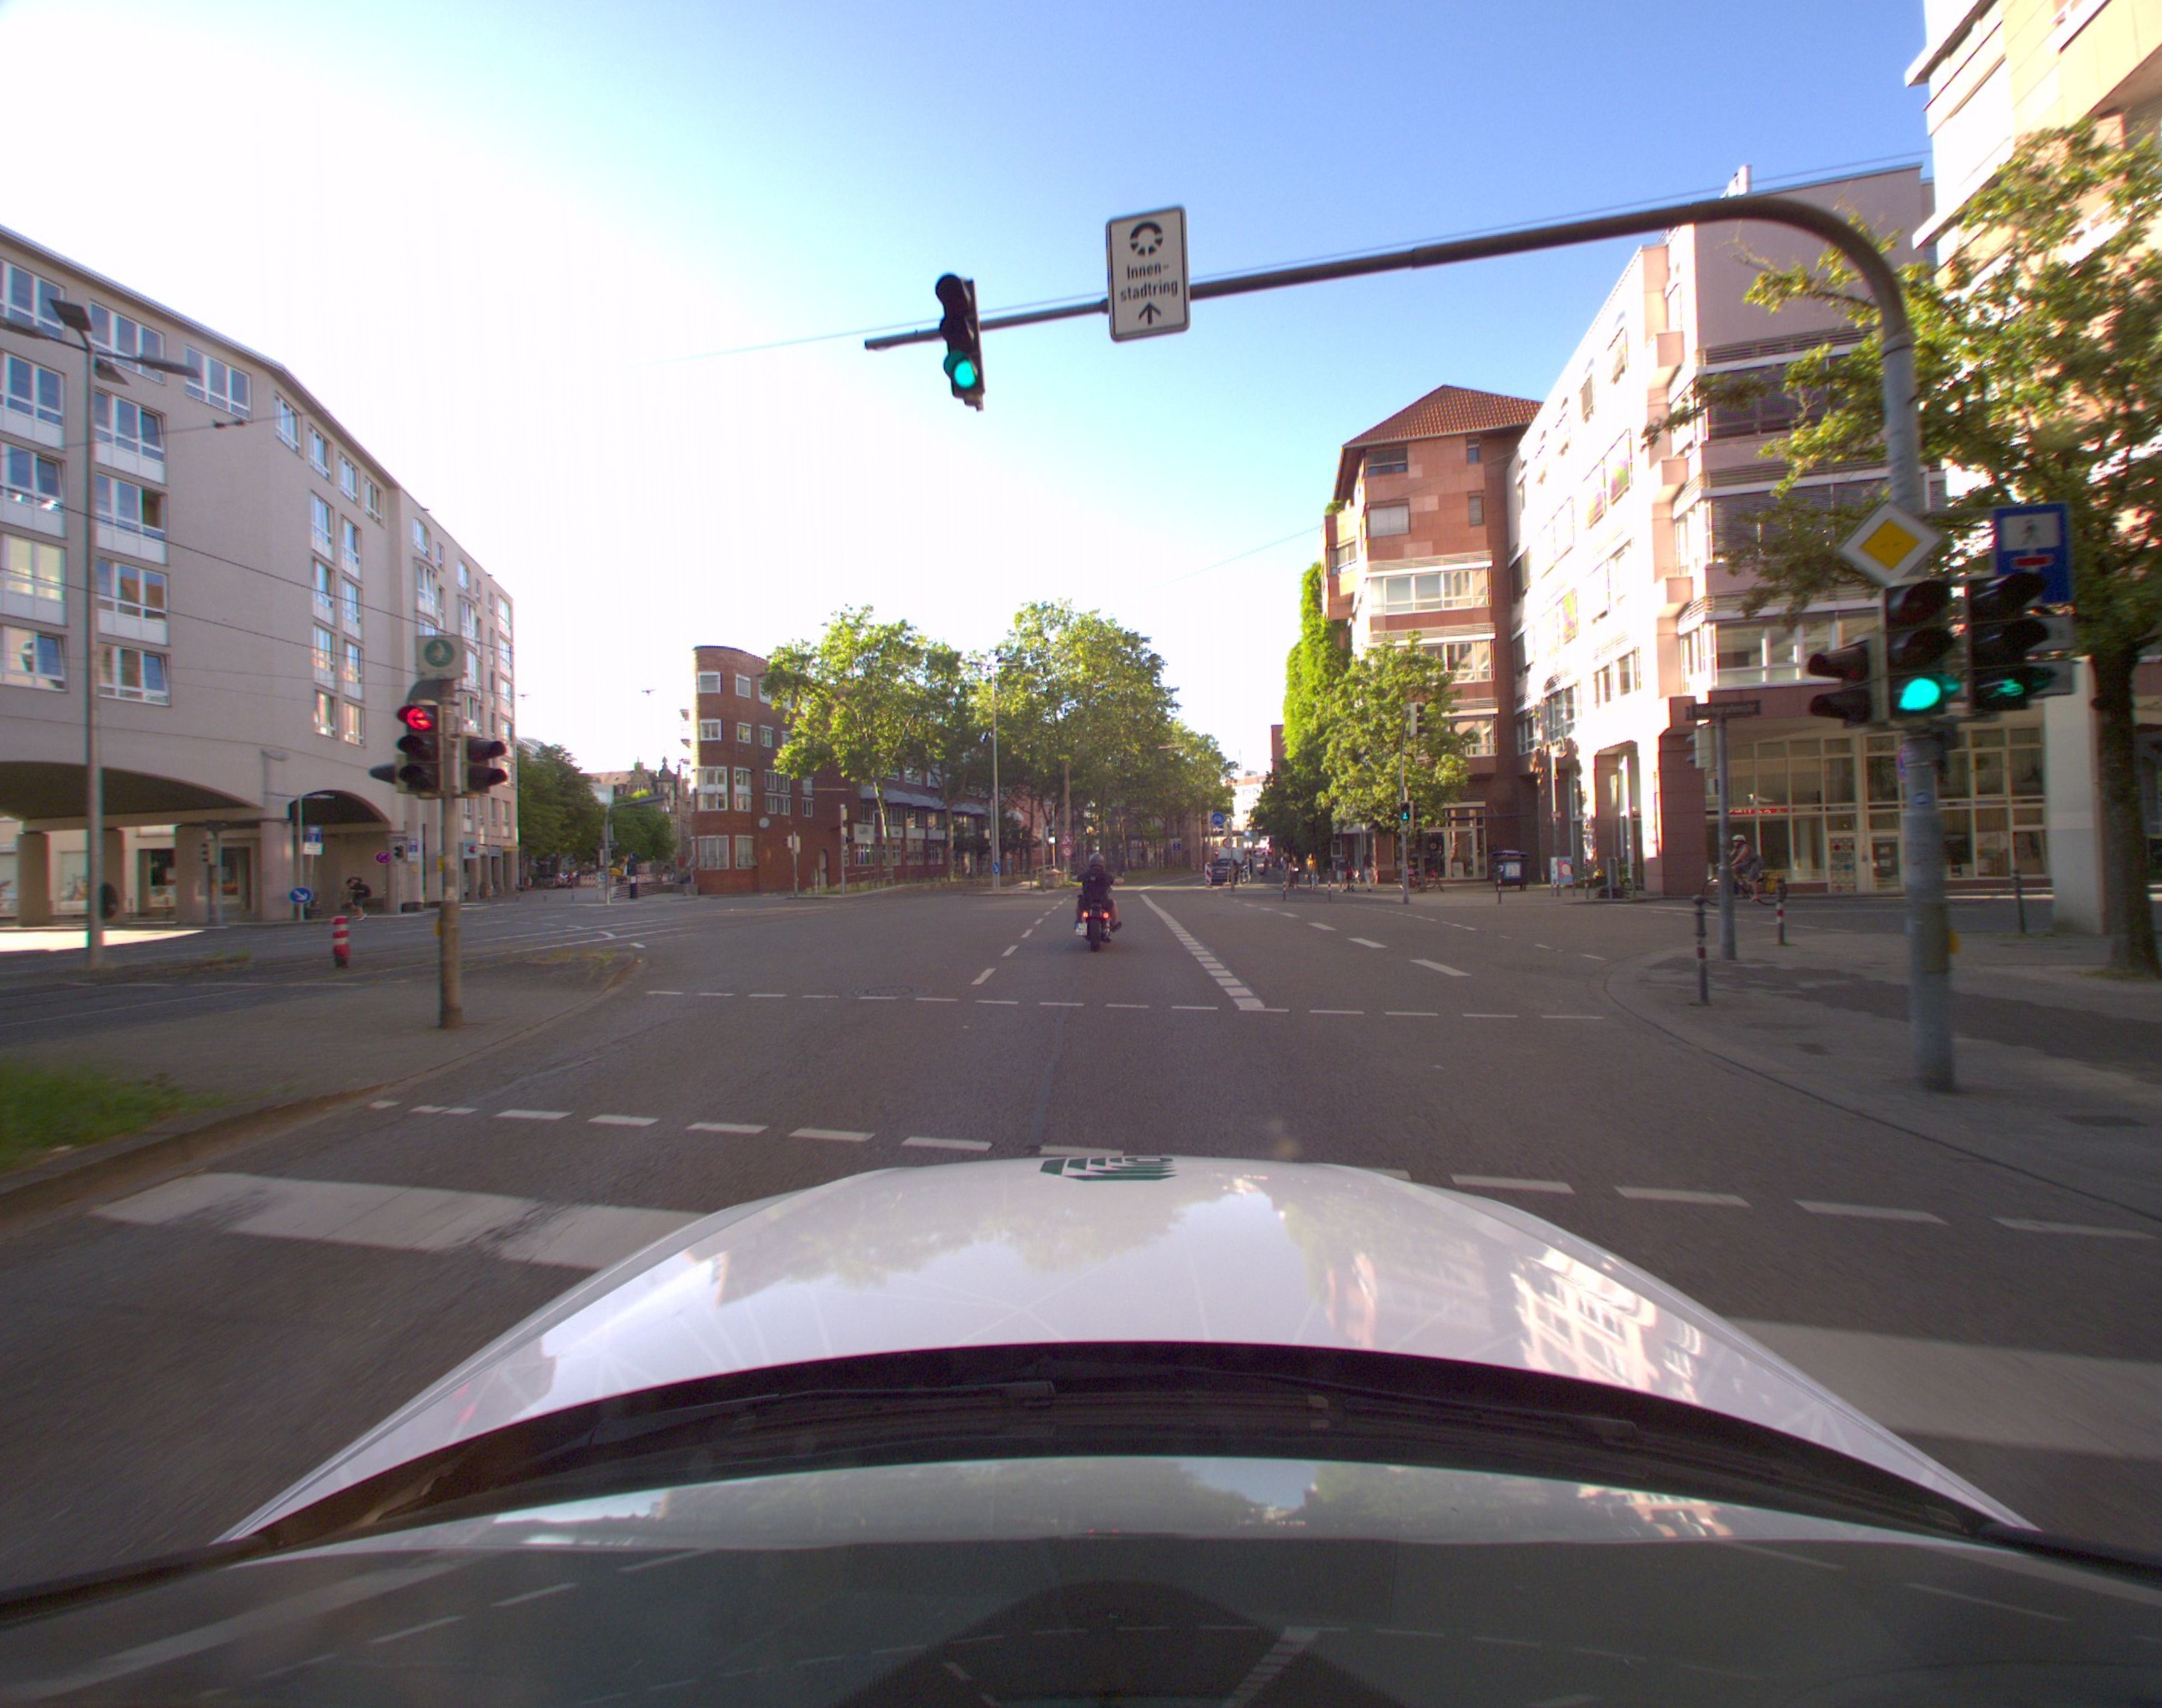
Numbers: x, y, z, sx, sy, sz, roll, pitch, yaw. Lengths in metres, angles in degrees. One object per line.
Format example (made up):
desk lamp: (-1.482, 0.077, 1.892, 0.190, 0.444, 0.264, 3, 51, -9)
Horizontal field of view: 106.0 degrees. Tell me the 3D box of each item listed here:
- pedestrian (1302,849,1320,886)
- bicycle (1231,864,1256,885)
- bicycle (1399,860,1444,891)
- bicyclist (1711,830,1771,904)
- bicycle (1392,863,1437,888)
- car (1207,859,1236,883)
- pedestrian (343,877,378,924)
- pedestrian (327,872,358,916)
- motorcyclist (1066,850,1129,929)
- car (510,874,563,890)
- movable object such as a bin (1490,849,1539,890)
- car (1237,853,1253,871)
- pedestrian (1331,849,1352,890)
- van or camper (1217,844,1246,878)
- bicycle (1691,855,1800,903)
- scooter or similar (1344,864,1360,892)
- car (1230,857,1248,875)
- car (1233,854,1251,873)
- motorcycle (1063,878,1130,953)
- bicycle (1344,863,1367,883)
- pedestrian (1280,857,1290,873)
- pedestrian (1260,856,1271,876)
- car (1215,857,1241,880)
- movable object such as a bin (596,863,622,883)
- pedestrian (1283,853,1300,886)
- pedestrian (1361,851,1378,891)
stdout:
pedestrian: (10.993, 0.636, 38.926, 0.697, 1.733, 0.769, -2, -1, 6)
bicycle: (8.388, 1.031, 42.103, 0.736, 1.053, 1.748, -1, 0, -7)
bicycle: (13.728, 0.871, 32.897, 1.558, 1.227, 0.579, -2, -1, 8)
bicyclist: (16.312, 0.316, 20.153, 0.820, 1.770, 0.790, -2, -1, 10)
bicycle: (14.697, 0.933, 35.928, 1.730, 1.053, 0.744, -2, -1, 30)
car: (8.554, 1.003, 49.283, 1.610, 1.302, 4.325, -2, -1, 11)
pedestrian: (-29.490, 1.900, 33.335, 0.847, 1.869, 0.756, -2, -1, 25)
pedestrian: (-34.477, 1.848, 38.041, 0.839, 2.014, 0.880, -1, -1, -26)
motorcyclist: (0.293, 0.579, 13.594, 1.007, 1.263, 0.774, 1, 0, 3)
car: (-50.832, 2.605, 76.174, 4.013, 1.400, 1.980, -1, -1, -31)
movable object such as a bin: (16.102, 0.573, 30.282, 1.400, 1.482, 0.875, -2, -1, 14)
car: (19.084, 0.921, 94.662, 1.823, 2.014, 4.402, -2, -1, 12)
pedestrian: (11.314, 0.663, 35.382, 0.781, 1.763, 0.611, -2, -1, 10)
van or camper: (12.157, 0.541, 65.558, 2.035, 2.541, 5.792, -2, -1, 12)
bicycle: (16.392, 0.610, 20.133, 1.903, 1.113, 0.806, -2, -1, 10)
scooter or similar: (11.756, 1.022, 35.336, 0.392, 1.158, 1.252, -2, -1, 8)
car: (15.197, 1.123, 78.319, 1.610, 1.610, 3.785, -2, -1, 11)
car: (17.576, 1.000, 88.621, 1.823, 2.014, 4.402, -2, -1, 12)
motorcycle: (0.306, 0.994, 13.797, 1.013, 1.097, 2.009, -1, 0, 4)
bicycle: (13.847, 0.938, 41.160, 0.733, 0.939, 1.755, -2, 0, 7)
pedestrian: (18.526, 1.020, 74.118, 0.761, 1.445, 0.781, -1, -1, 6)
pedestrian: (15.099, 0.965, 66.580, 0.759, 1.645, 0.548, -2, -1, 5)
car: (10.710, 1.026, 59.152, 1.609, 1.619, 4.500, -2, -1, 12)
movable object such as a bin: (-55.929, 2.236, 96.543, 1.928, 2.310, 2.776, -2, 0, -12)
pedestrian: (10.176, 0.745, 39.326, 0.641, 1.578, 0.749, -2, -1, 6)
pedestrian: (12.375, 0.731, 34.950, 0.458, 1.672, 0.680, -2, -1, -1)
